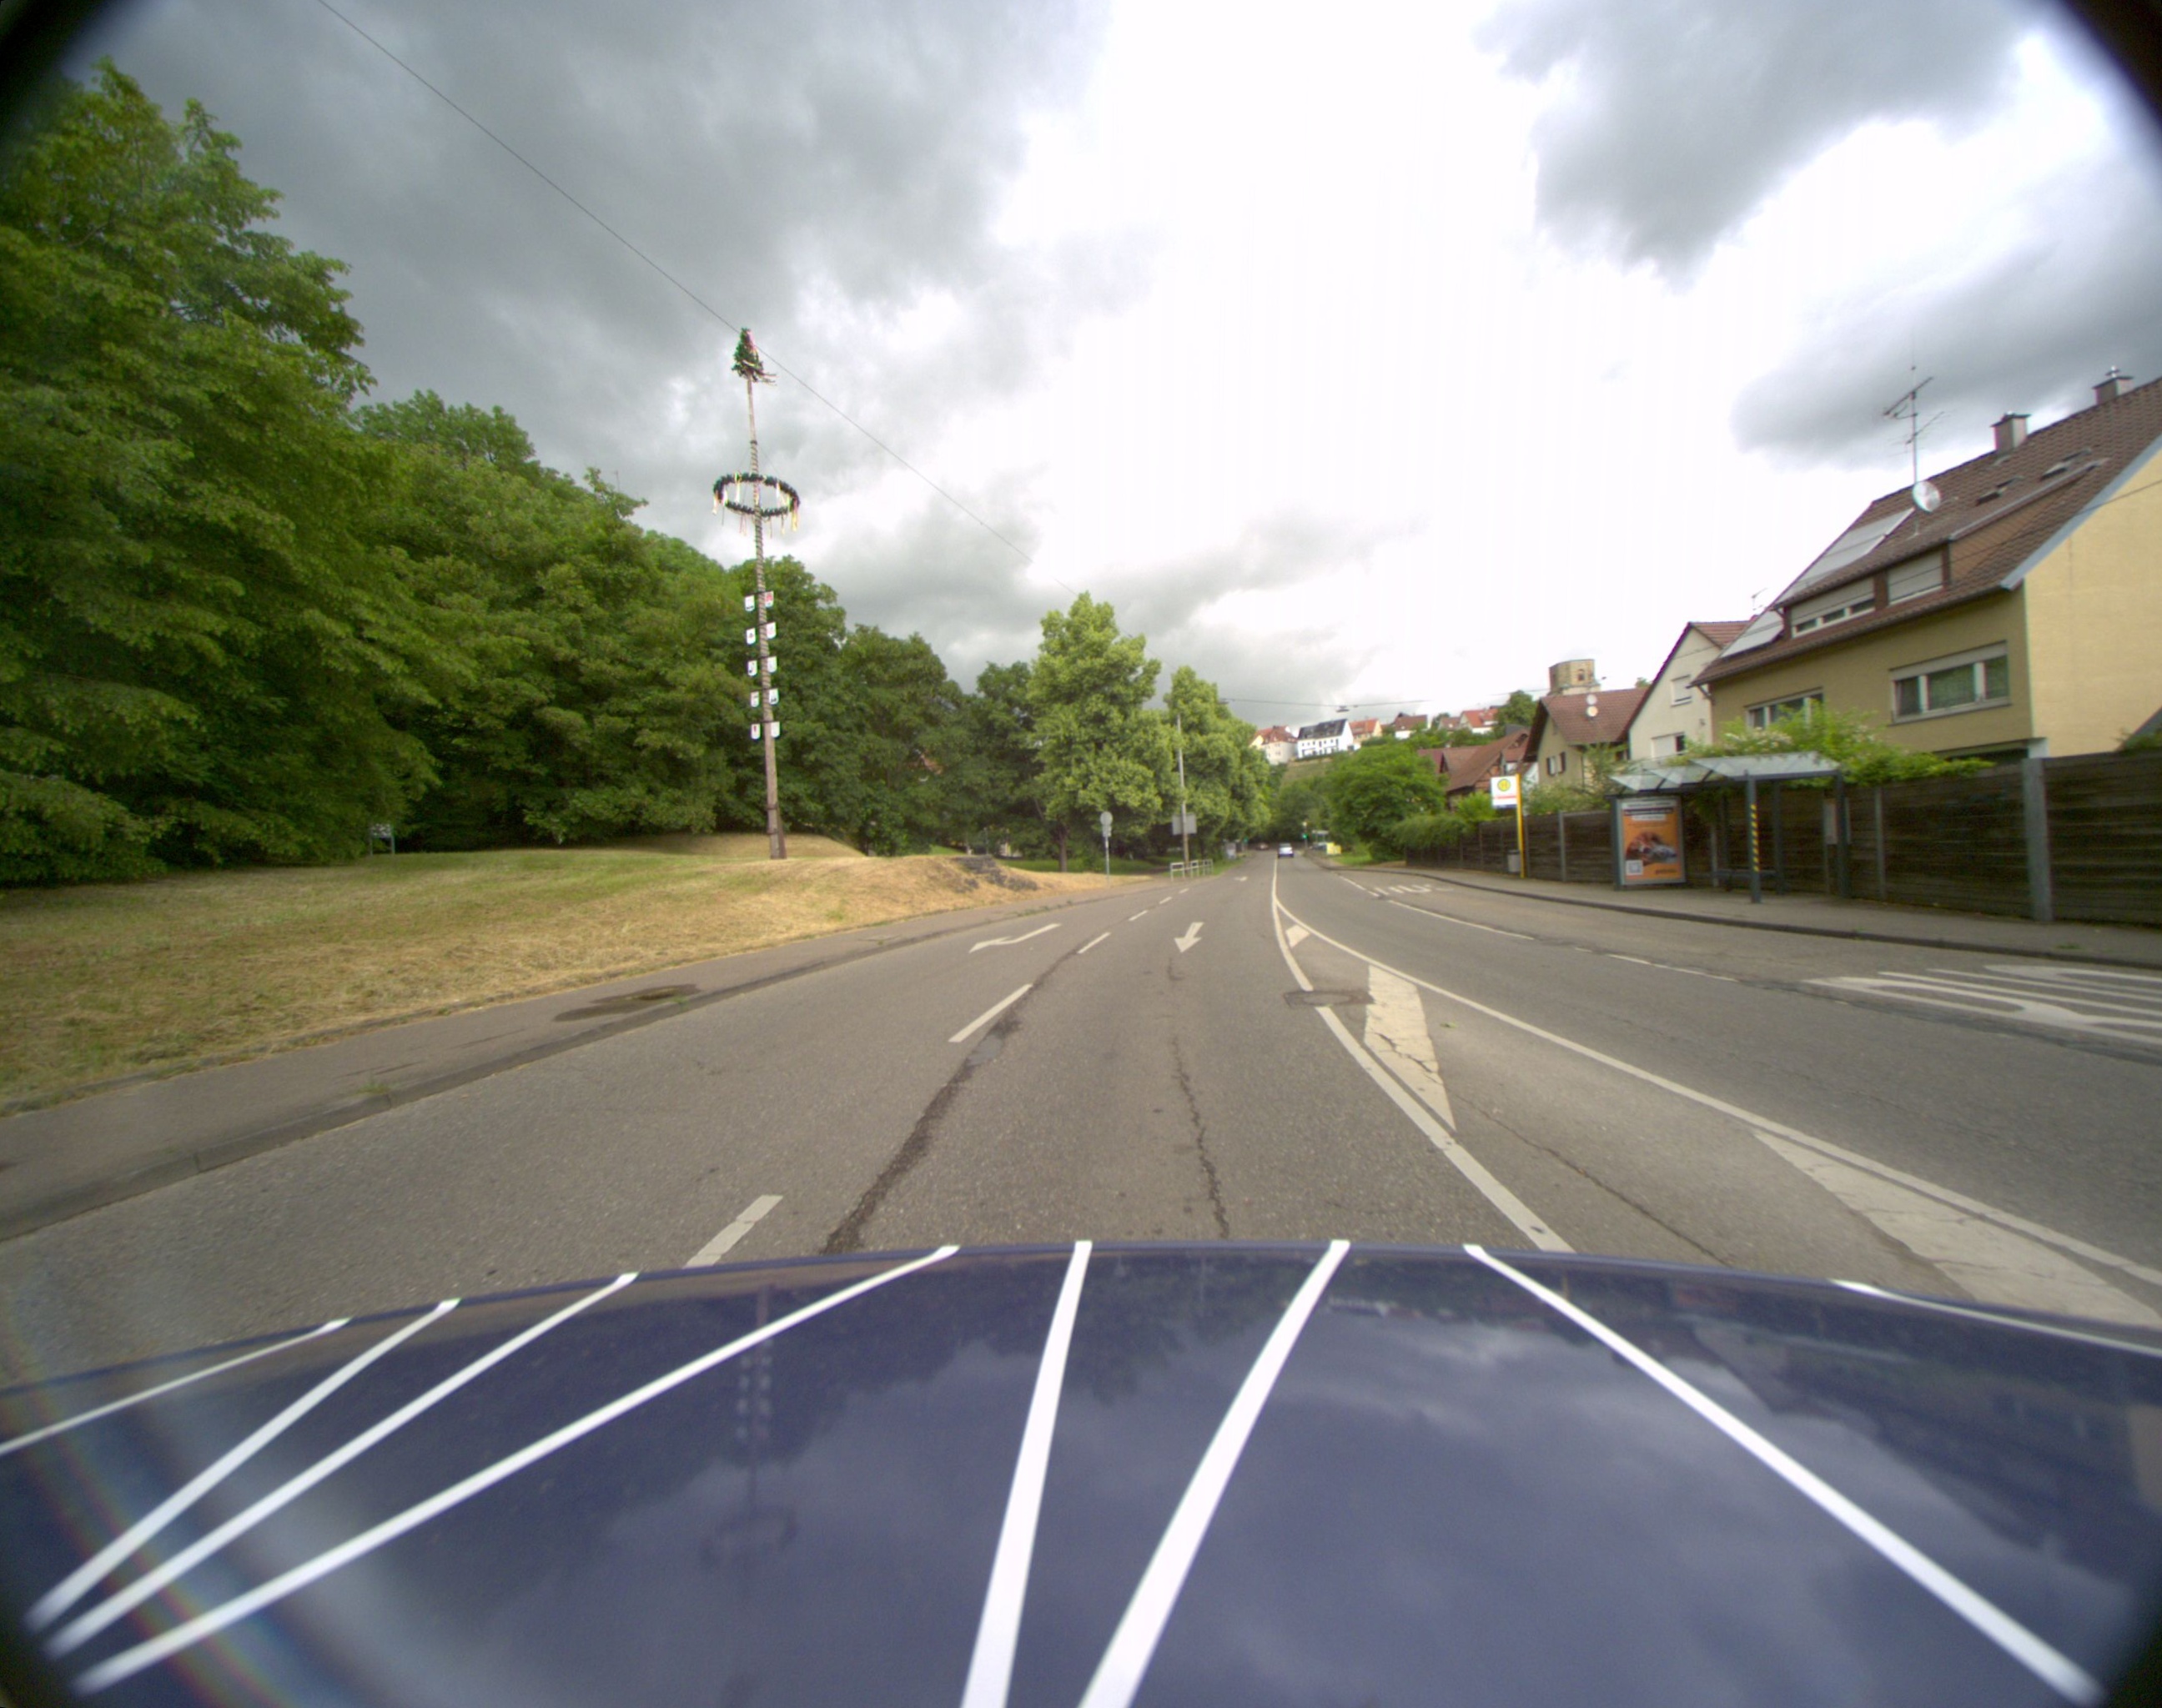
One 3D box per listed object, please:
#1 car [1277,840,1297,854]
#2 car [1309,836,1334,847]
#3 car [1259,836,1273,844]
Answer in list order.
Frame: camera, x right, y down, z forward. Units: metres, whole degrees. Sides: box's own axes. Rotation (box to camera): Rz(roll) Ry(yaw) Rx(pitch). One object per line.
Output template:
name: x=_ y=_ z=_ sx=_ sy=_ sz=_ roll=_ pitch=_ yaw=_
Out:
car: x=25.407 y=-0.870 z=93.683 sx=1.997 sy=1.608 sz=4.003 roll=-2 pitch=0 yaw=10
car: x=38.774 y=-2.013 z=122.673 sx=3.675 sy=1.575 sz=1.767 roll=-2 pitch=1 yaw=21
car: x=38.604 y=-2.842 z=158.545 sx=1.998 sy=1.565 sz=4.001 roll=-2 pitch=0 yaw=4
